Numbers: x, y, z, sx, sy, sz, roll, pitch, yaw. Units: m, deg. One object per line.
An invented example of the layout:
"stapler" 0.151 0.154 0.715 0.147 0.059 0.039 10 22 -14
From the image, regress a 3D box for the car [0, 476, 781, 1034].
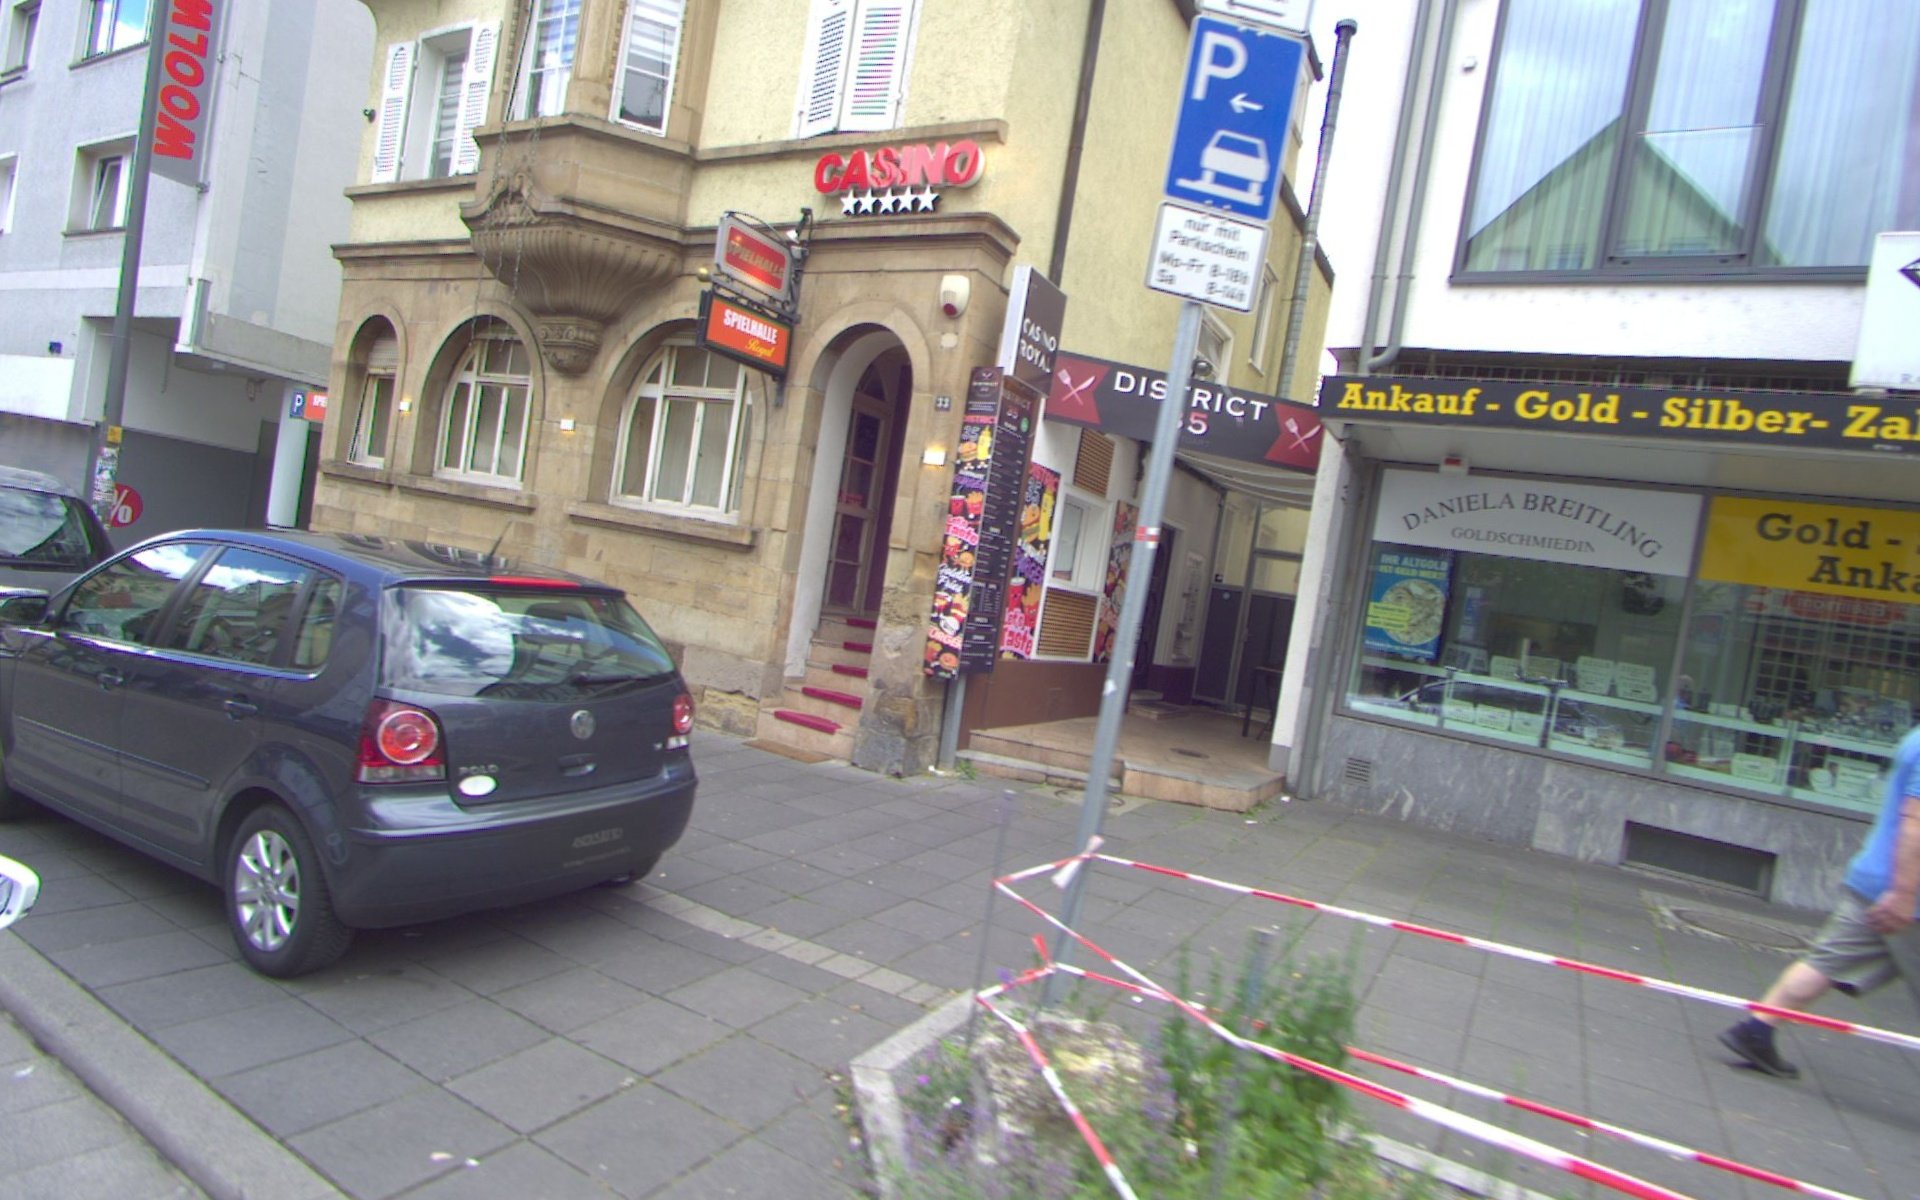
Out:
"car" -2.937 0.367 4.624 3.808 1.528 1.750 7 1 29

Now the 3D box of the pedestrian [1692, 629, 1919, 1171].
"pedestrian" 3.461 1.047 3.675 1.035 1.748 0.797 7 1 31

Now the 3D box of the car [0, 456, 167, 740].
"car" -7.120 -0.190 6.642 3.737 1.628 1.749 7 1 32
